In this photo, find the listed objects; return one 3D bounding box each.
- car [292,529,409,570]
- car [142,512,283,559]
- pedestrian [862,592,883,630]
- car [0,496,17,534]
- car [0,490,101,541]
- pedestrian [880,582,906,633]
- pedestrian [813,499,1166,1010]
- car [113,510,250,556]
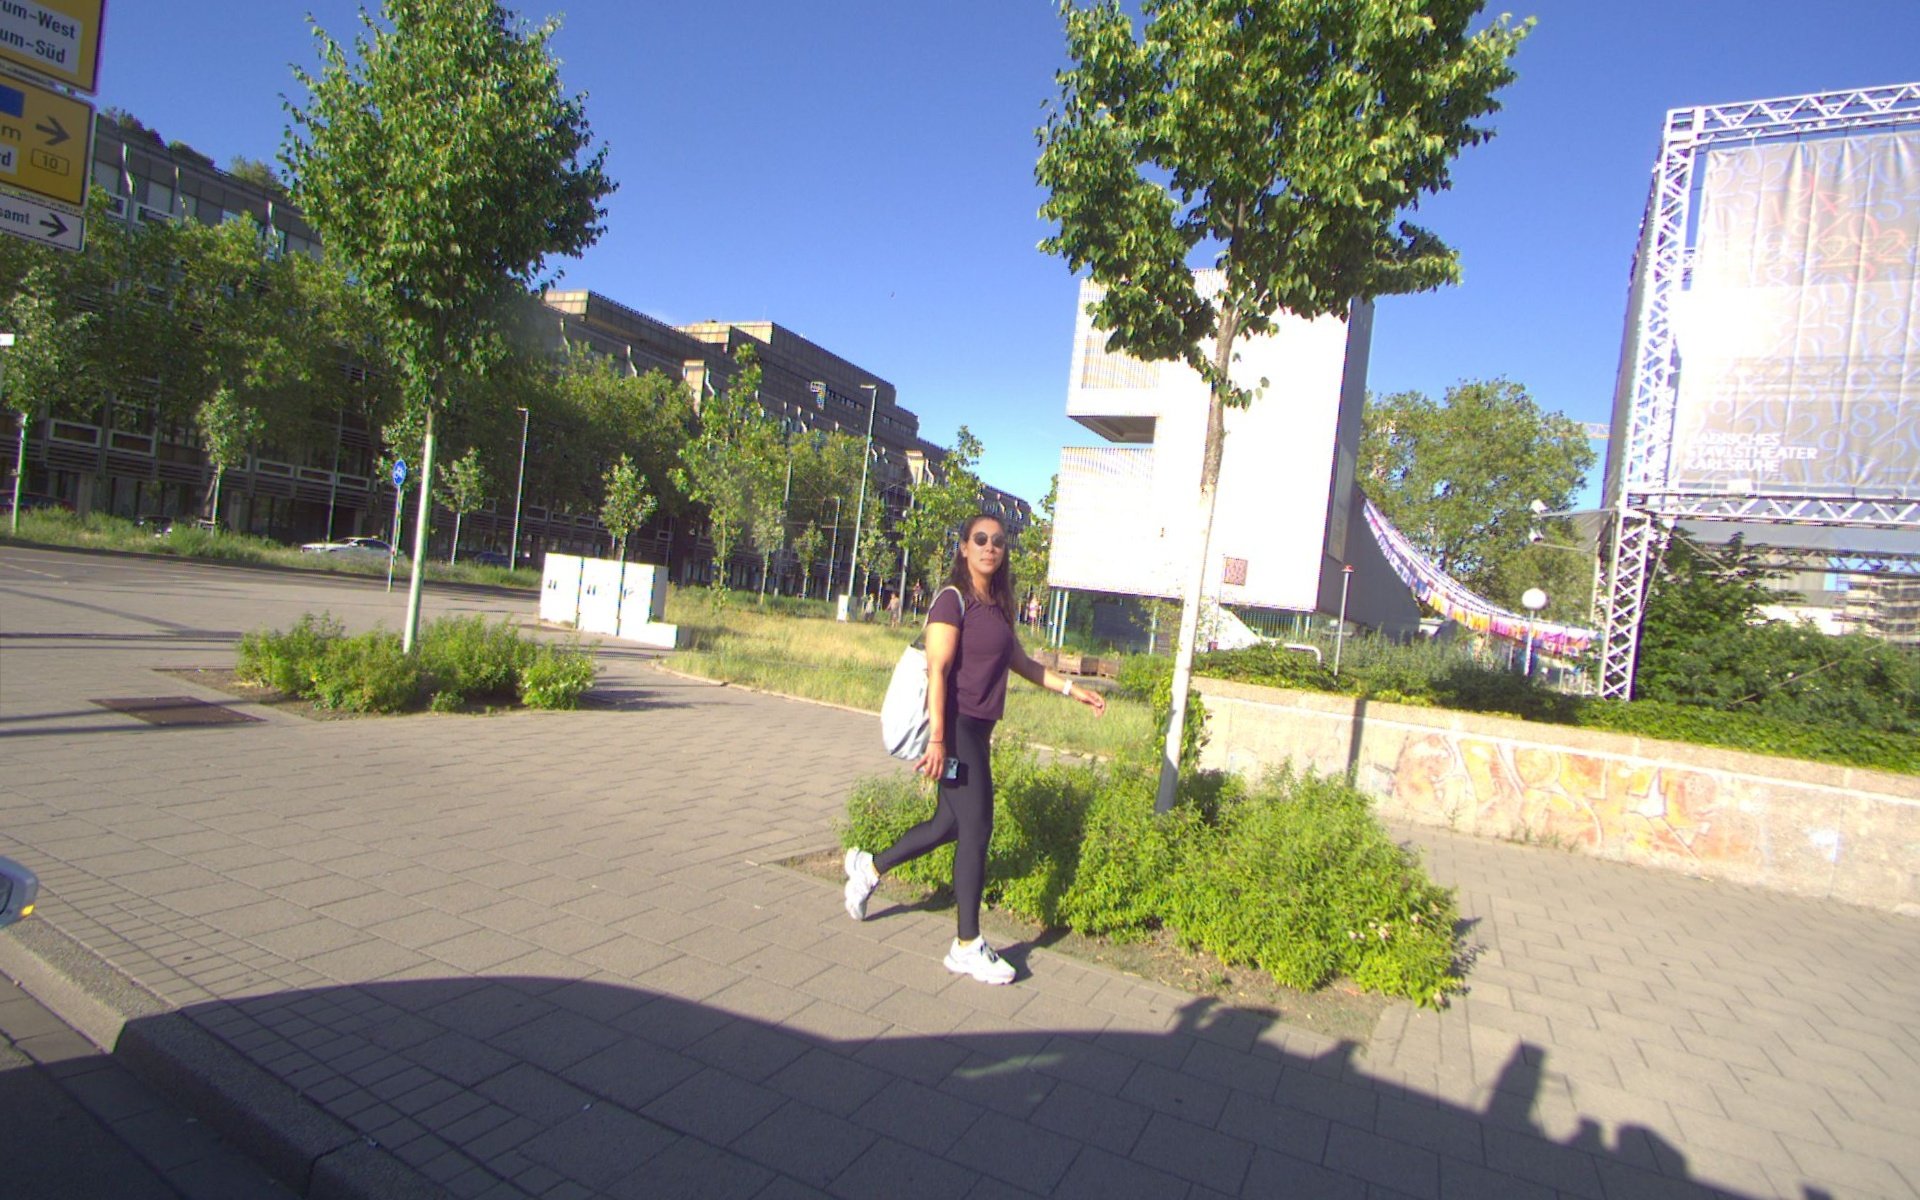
[{"bbox_3d":[-30.738,-2.520,50.892,1.965,1.373,4.641,8,0,27],"label":"car"},{"bbox_3d":[-33.660,-2.883,45.452,1.965,1.373,4.641,8,0,27],"label":"car"},{"bbox_3d":[-3.847,0.472,44.118,0.513,1.591,0.620,7,1,23],"label":"pedestrian"},{"bbox_3d":[-38.095,-3.483,36.931,1.965,1.373,4.641,8,0,27],"label":"car"},{"bbox_3d":[-33.536,-3.122,35.337,1.965,1.373,4.641,8,0,27],"label":"car"},{"bbox_3d":[-2.809,0.329,42.183,0.669,2.039,0.620,7,1,23],"label":"pedestrian"},{"bbox_3d":[0.090,0.537,4.122,0.817,1.771,1.031,5,1,-38],"label":"pedestrian"},{"bbox_3d":[-36.596,-3.123,47.437,1.965,1.373,4.641,8,0,27],"label":"car"}]
